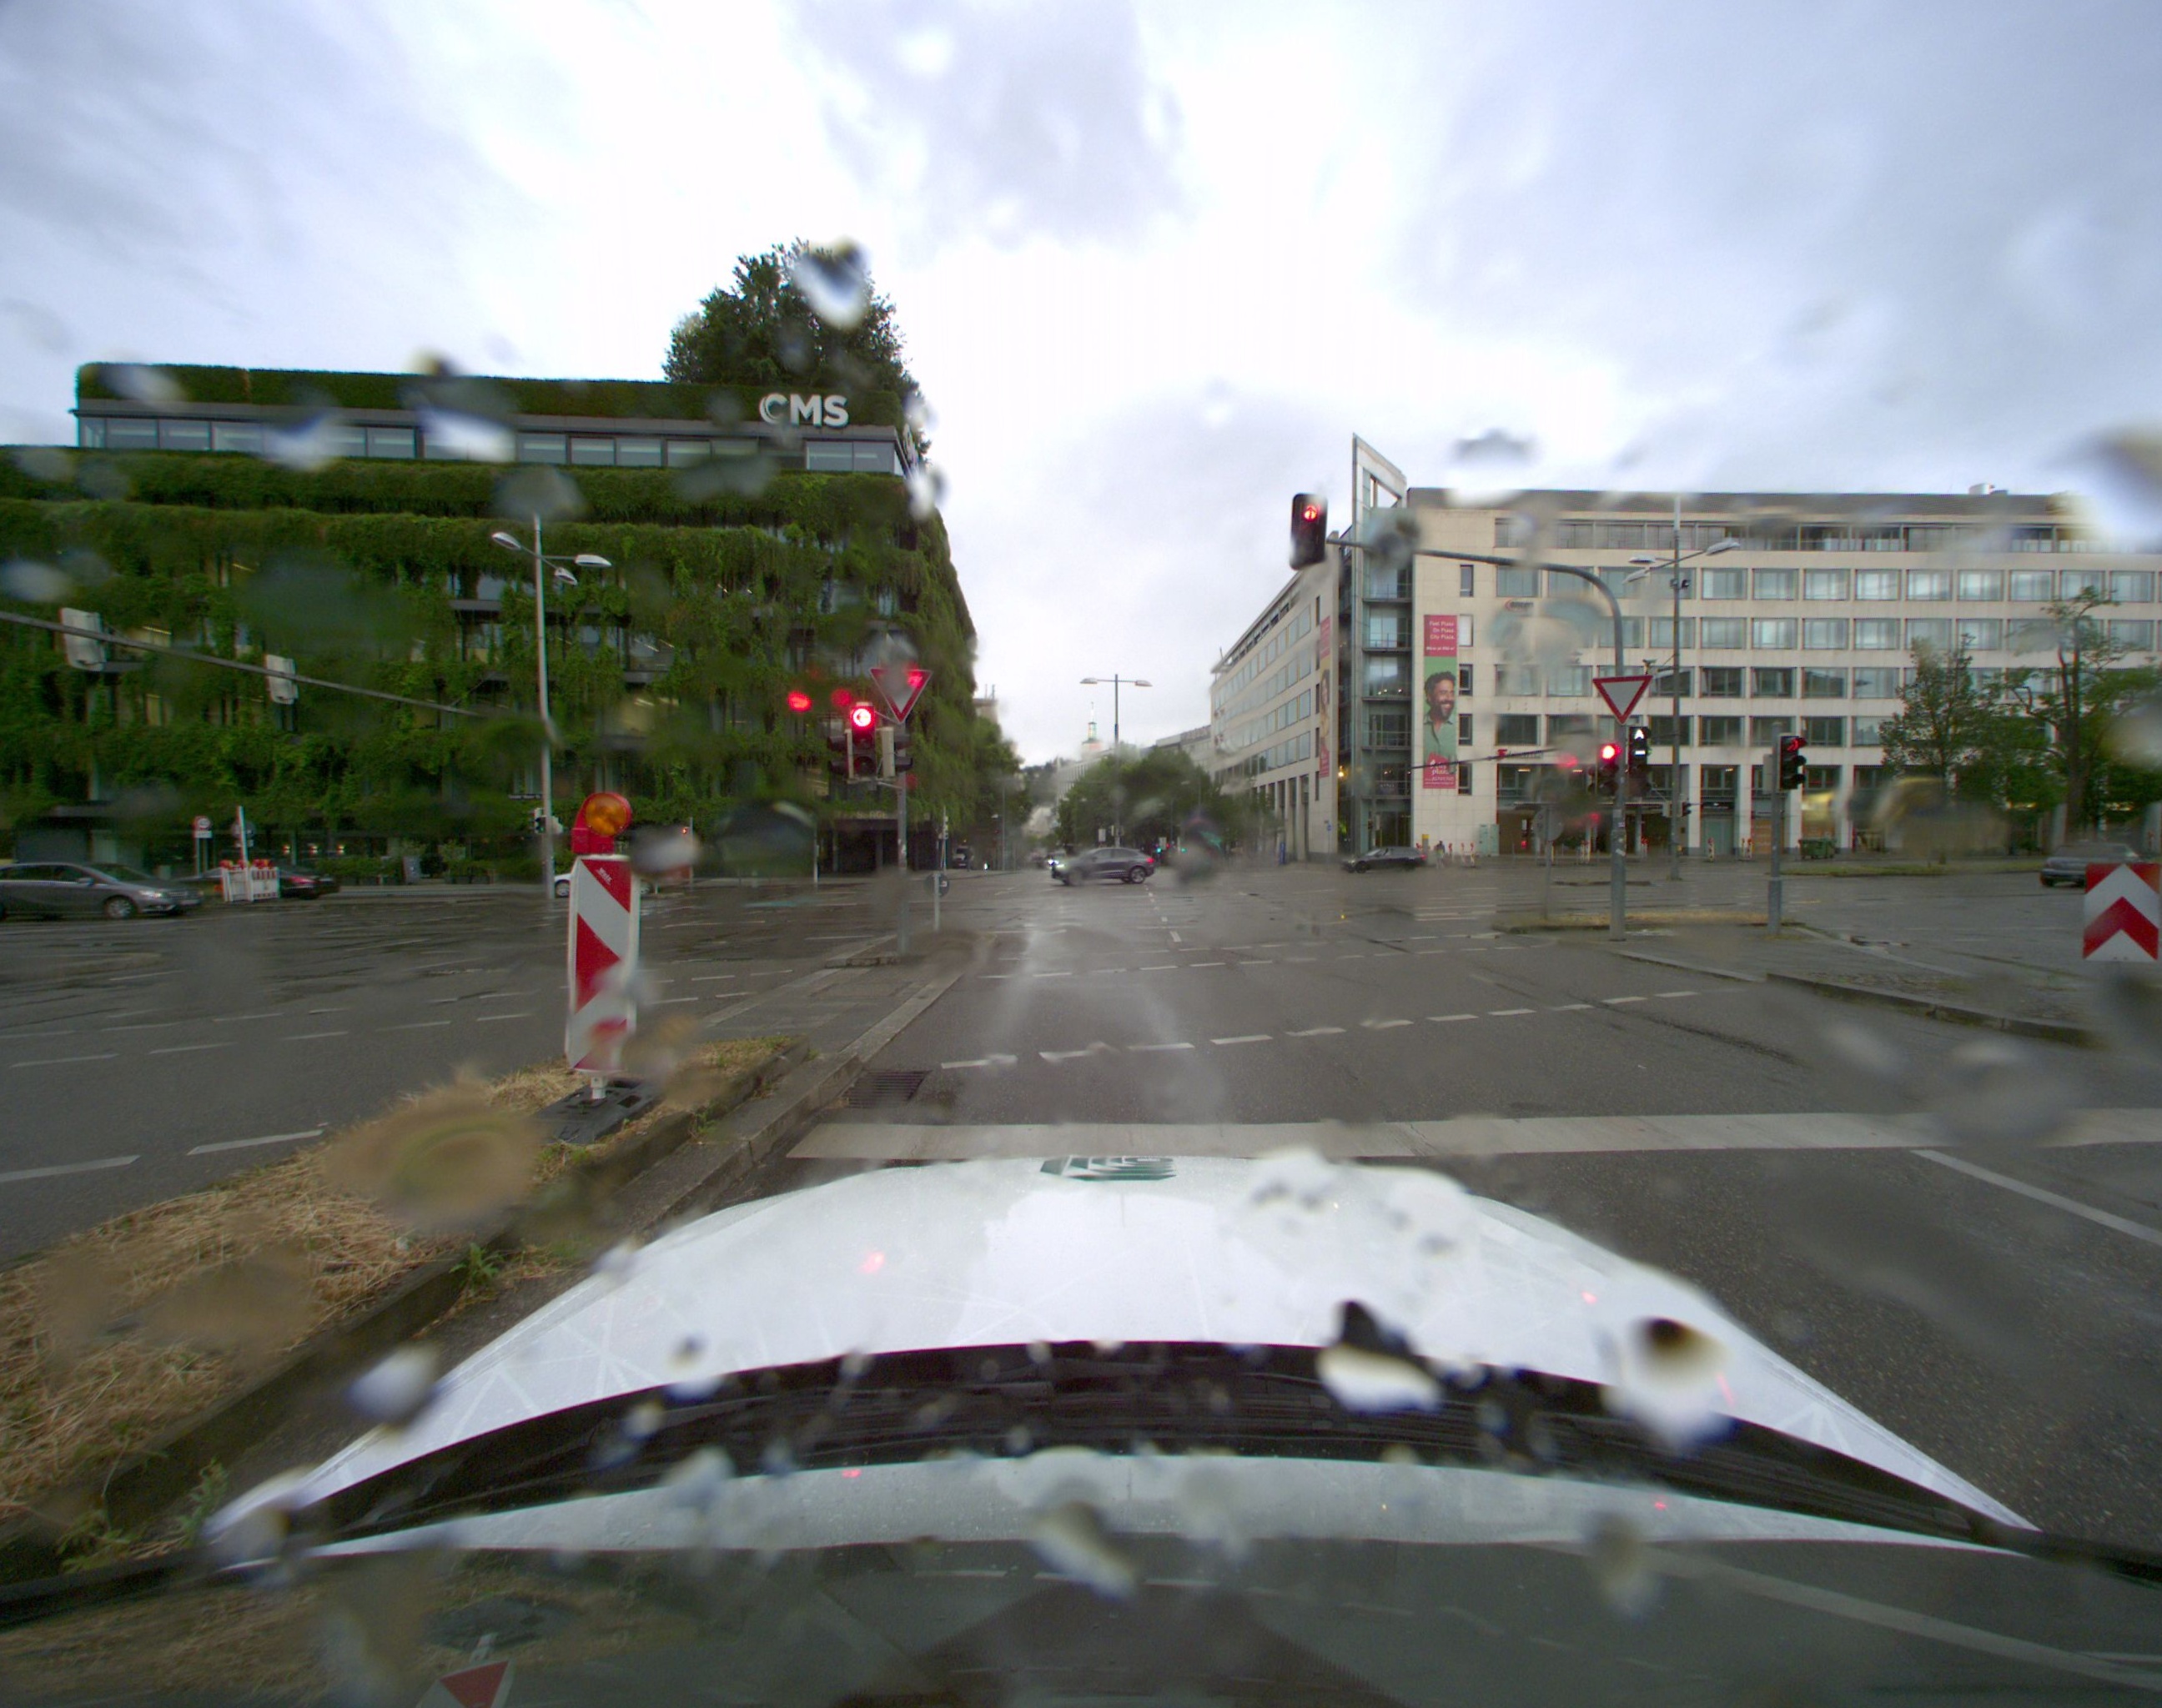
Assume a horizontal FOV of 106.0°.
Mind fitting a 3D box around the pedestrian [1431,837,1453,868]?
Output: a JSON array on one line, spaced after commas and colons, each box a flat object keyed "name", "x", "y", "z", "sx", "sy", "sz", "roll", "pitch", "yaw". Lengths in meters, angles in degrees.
[{"name": "pedestrian", "x": 21.823, "y": -0.092, "z": 49.218, "sx": 0.958, "sy": 1.816, "sz": 0.837, "roll": 0, "pitch": -1, "yaw": 1}]

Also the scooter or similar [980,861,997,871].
[{"name": "scooter or similar", "x": -9.425, "y": 1.188, "z": 82.947, "sx": 0.616, "sy": 1.004, "sz": 1.671, "roll": -1, "pitch": 0, "yaw": 40}]

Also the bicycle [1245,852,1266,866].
[{"name": "bicycle", "x": 15.291, "y": 0.428, "z": 71.410, "sx": 1.770, "sy": 1.194, "sz": 0.587, "roll": 0, "pitch": -1, "yaw": 3}]

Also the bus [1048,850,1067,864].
[{"name": "bus", "x": -5.238, "y": 0.667, "z": 180.717, "sx": 2.631, "sy": 2.995, "sz": 7.415, "roll": -1, "pitch": 0, "yaw": -13}]

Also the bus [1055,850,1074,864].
[{"name": "bus", "x": -3.542, "y": 0.650, "z": 173.574, "sx": 2.631, "sy": 2.995, "sz": 7.294, "roll": -1, "pitch": 0, "yaw": -13}]

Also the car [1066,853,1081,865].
[{"name": "car", "x": -1.195, "y": 0.819, "z": 126.429, "sx": 2.158, "sy": 1.765, "sz": 5.109, "roll": -1, "pitch": 0, "yaw": -1}]

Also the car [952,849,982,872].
[{"name": "car", "x": -9.555, "y": 0.541, "z": 68.734, "sx": 1.863, "sy": 1.839, "sz": 4.001, "roll": 0, "pitch": -1, "yaw": 2}]

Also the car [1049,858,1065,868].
[{"name": "car", "x": -4.188, "y": 1.578, "z": 143.123, "sx": 2.163, "sy": 1.765, "sz": 4.816, "roll": -2, "pitch": 0, "yaw": -9}]

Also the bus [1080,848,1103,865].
[{"name": "bus", "x": 1.989, "y": 0.445, "z": 153.281, "sx": 2.631, "sy": 2.995, "sz": 7.415, "roll": -1, "pitch": 0, "yaw": -13}]

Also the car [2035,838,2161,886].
[{"name": "car", "x": 32.739, "y": 0.244, "z": 26.187, "sx": 3.727, "sy": 1.455, "sz": 1.731, "roll": 0, "pitch": -1, "yaw": -25}]

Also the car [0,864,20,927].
[{"name": "car", "x": -27.337, "y": 1.003, "z": 18.308, "sx": 3.981, "sy": 1.475, "sz": 1.996, "roll": -1, "pitch": 0, "yaw": -6}]

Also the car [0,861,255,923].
[{"name": "car", "x": -26.120, "y": 0.985, "z": 22.064, "sx": 4.901, "sy": 1.488, "sz": 1.924, "roll": -1, "pitch": 0, "yaw": -15}]

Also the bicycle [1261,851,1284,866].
[{"name": "bicycle", "x": 15.205, "y": 0.373, "z": 64.646, "sx": 1.607, "sy": 1.194, "sz": 0.590, "roll": -1, "pitch": -1, "yaw": 27}]

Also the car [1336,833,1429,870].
[{"name": "car", "x": 16.921, "y": -0.140, "z": 45.799, "sx": 4.640, "sy": 2.014, "sz": 1.548, "roll": 0, "pitch": -1, "yaw": -2}]

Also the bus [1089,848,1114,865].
[{"name": "bus", "x": 3.682, "y": 0.436, "z": 146.089, "sx": 2.631, "sy": 2.995, "sz": 7.415, "roll": -1, "pitch": 0, "yaw": -13}]

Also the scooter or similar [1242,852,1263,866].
[{"name": "scooter or similar", "x": 14.911, "y": 0.426, "z": 70.796, "sx": 1.770, "sy": 1.194, "sz": 0.587, "roll": 0, "pitch": -1, "yaw": 3}]

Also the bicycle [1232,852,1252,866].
[{"name": "bicycle", "x": 14.475, "y": 0.449, "z": 73.234, "sx": 1.770, "sy": 1.194, "sz": 0.587, "roll": 0, "pitch": -1, "yaw": 3}]

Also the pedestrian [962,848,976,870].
[{"name": "pedestrian", "x": -8.541, "y": 0.409, "z": 62.155, "sx": 0.930, "sy": 1.644, "sz": 0.774, "roll": 0, "pitch": -1, "yaw": 1}]

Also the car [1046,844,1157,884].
[{"name": "car", "x": 0.862, "y": 0.407, "z": 34.930, "sx": 4.480, "sy": 1.609, "sz": 1.823, "roll": 0, "pitch": -1, "yaw": -14}]

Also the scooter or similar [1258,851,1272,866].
[{"name": "scooter or similar", "x": 14.424, "y": 0.374, "z": 63.980, "sx": 0.951, "sy": 1.194, "sz": 0.458, "roll": -1, "pitch": -1, "yaw": 42}]

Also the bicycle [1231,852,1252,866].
[{"name": "bicycle", "x": 14.300, "y": 0.445, "z": 72.604, "sx": 1.770, "sy": 1.194, "sz": 0.587, "roll": 0, "pitch": -1, "yaw": 3}]

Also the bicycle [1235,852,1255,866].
[{"name": "bicycle", "x": 14.942, "y": 0.453, "z": 74.141, "sx": 1.770, "sy": 1.194, "sz": 0.587, "roll": 0, "pitch": -1, "yaw": 3}]

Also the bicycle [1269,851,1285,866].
[{"name": "bicycle", "x": 16.055, "y": 0.384, "z": 66.736, "sx": 0.579, "sy": 1.194, "sz": 1.794, "roll": -1, "pitch": -1, "yaw": 40}]

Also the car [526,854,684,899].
[{"name": "car", "x": -17.951, "y": 0.819, "z": 30.954, "sx": 4.723, "sy": 1.476, "sz": 1.992, "roll": -1, "pitch": 4, "yaw": -13}]

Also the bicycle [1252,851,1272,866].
[{"name": "bicycle", "x": 14.732, "y": 0.390, "z": 66.210, "sx": 0.588, "sy": 1.194, "sz": 1.768, "roll": 0, "pitch": -1, "yaw": -26}]

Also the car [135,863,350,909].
[{"name": "car", "x": -28.939, "y": 1.096, "z": 28.294, "sx": 4.850, "sy": 1.477, "sz": 1.992, "roll": 0, "pitch": -2, "yaw": -12}]
